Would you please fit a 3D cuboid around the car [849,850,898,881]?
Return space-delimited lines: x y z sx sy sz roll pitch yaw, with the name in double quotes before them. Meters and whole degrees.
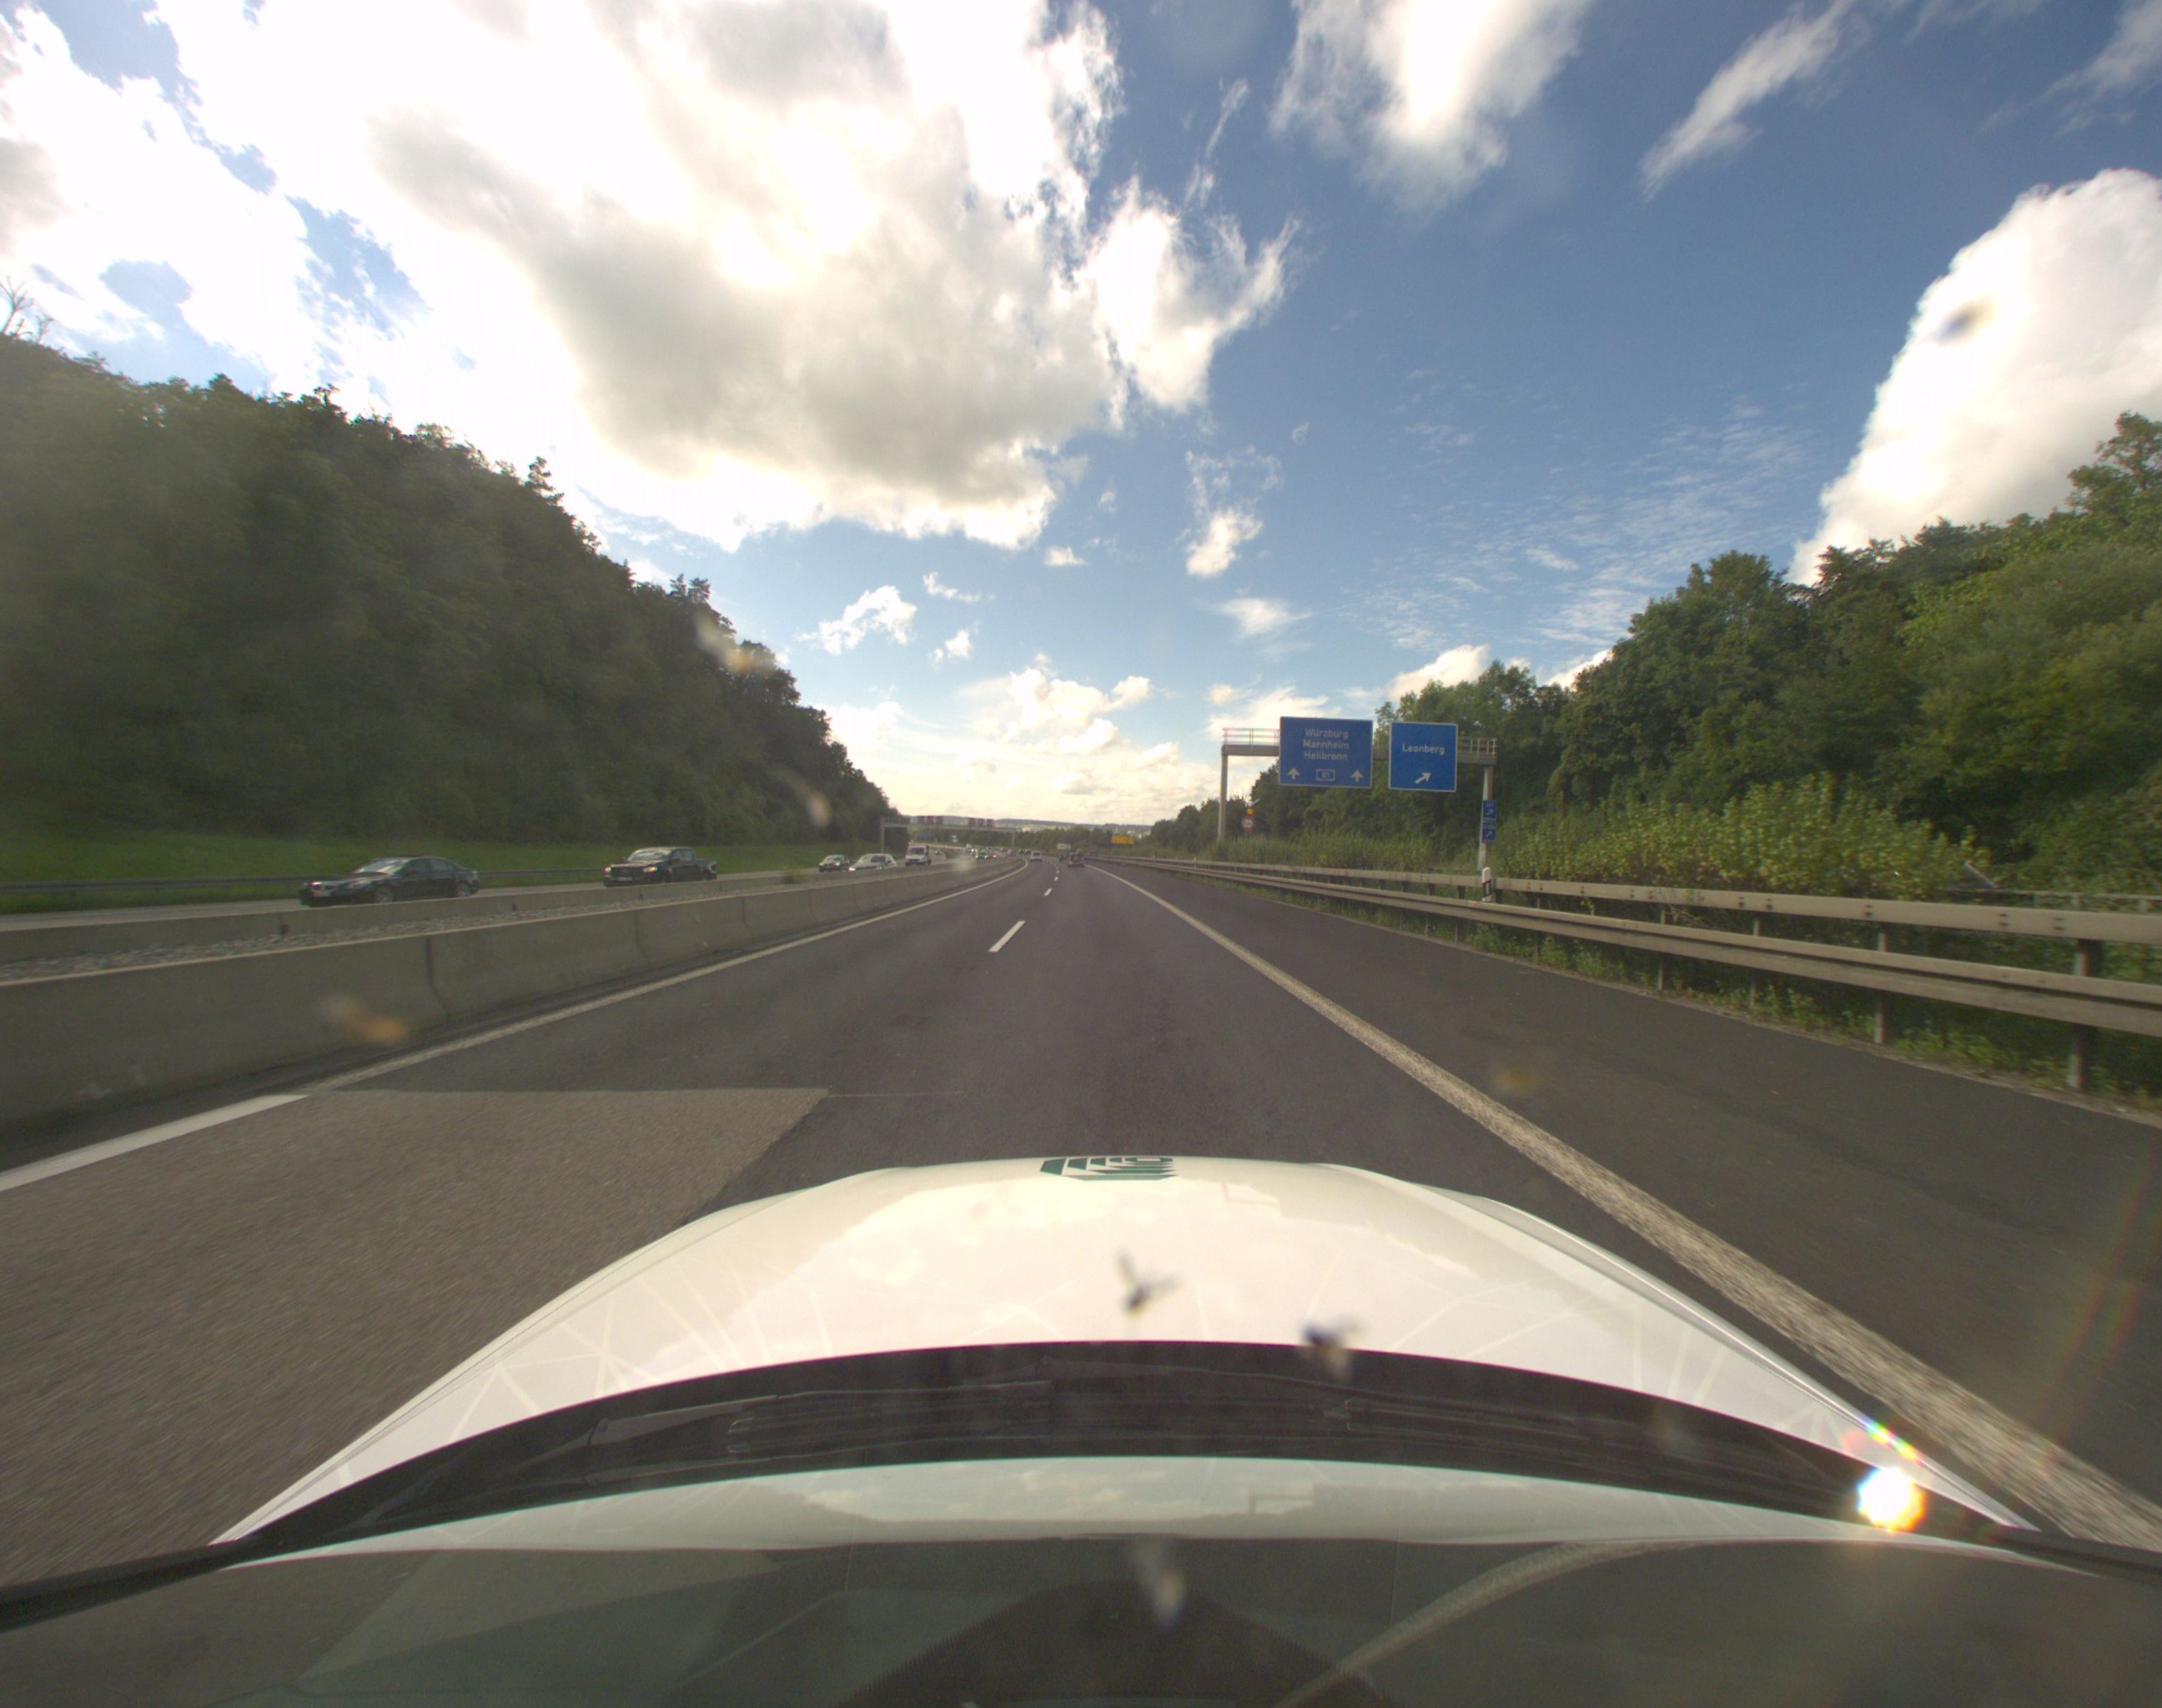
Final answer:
"car" -11.573 0.612 45.670 1.797 1.606 4.479 0 0 -2

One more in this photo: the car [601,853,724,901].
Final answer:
"car" -15.272 0.783 30.107 2.031 1.614 5.036 0 0 -2

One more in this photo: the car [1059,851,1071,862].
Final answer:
"car" -2.672 0.392 133.961 1.585 1.597 4.087 0 1 -6

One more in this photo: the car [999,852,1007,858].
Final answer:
"car" -19.913 0.282 206.977 1.756 1.460 4.292 0 0 -2

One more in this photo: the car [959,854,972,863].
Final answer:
"car" -20.552 0.841 144.516 1.910 1.510 3.996 0 0 -3

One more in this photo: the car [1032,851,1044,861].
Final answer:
"car" -7.342 0.417 138.367 1.990 1.684 3.993 0 -1 -5

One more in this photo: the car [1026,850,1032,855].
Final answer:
"car" -15.944 -0.368 250.932 1.603 1.558 3.990 0 -1 -7

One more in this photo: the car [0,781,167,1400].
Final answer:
"car" -4.052 0.678 0.122 1.810 1.736 5.191 0 0 3

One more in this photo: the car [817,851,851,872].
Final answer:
"car" -20.425 0.616 67.510 1.722 1.639 4.188 0 0 -2

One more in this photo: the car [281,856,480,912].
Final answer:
"car" -20.032 0.803 23.595 1.893 1.465 4.344 0 0 2

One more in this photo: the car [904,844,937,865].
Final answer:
"car" -16.865 0.020 85.994 2.195 2.130 8.069 0 0 -2

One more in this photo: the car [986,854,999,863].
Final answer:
"car" -16.402 0.796 151.056 1.988 1.627 4.775 0 -1 -1

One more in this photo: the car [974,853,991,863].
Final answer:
"car" -15.240 0.532 126.273 1.976 1.510 5.960 0 0 0

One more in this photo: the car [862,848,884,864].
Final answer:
"car" -27.417 0.212 107.332 1.988 2.034 3.997 0 0 -2

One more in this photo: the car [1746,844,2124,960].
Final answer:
"car" 12.756 0.625 12.614 1.760 1.509 4.002 0 0 2

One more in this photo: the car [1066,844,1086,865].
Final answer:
"car" -0.557 0.039 89.830 2.026 2.151 3.996 0 1 -3

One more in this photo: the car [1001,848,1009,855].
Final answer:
"car" -20.298 -0.652 217.226 1.871 1.697 4.311 0 0 -2

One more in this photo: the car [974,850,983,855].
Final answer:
"car" -27.993 -0.398 222.186 1.988 1.539 4.735 0 0 -2
